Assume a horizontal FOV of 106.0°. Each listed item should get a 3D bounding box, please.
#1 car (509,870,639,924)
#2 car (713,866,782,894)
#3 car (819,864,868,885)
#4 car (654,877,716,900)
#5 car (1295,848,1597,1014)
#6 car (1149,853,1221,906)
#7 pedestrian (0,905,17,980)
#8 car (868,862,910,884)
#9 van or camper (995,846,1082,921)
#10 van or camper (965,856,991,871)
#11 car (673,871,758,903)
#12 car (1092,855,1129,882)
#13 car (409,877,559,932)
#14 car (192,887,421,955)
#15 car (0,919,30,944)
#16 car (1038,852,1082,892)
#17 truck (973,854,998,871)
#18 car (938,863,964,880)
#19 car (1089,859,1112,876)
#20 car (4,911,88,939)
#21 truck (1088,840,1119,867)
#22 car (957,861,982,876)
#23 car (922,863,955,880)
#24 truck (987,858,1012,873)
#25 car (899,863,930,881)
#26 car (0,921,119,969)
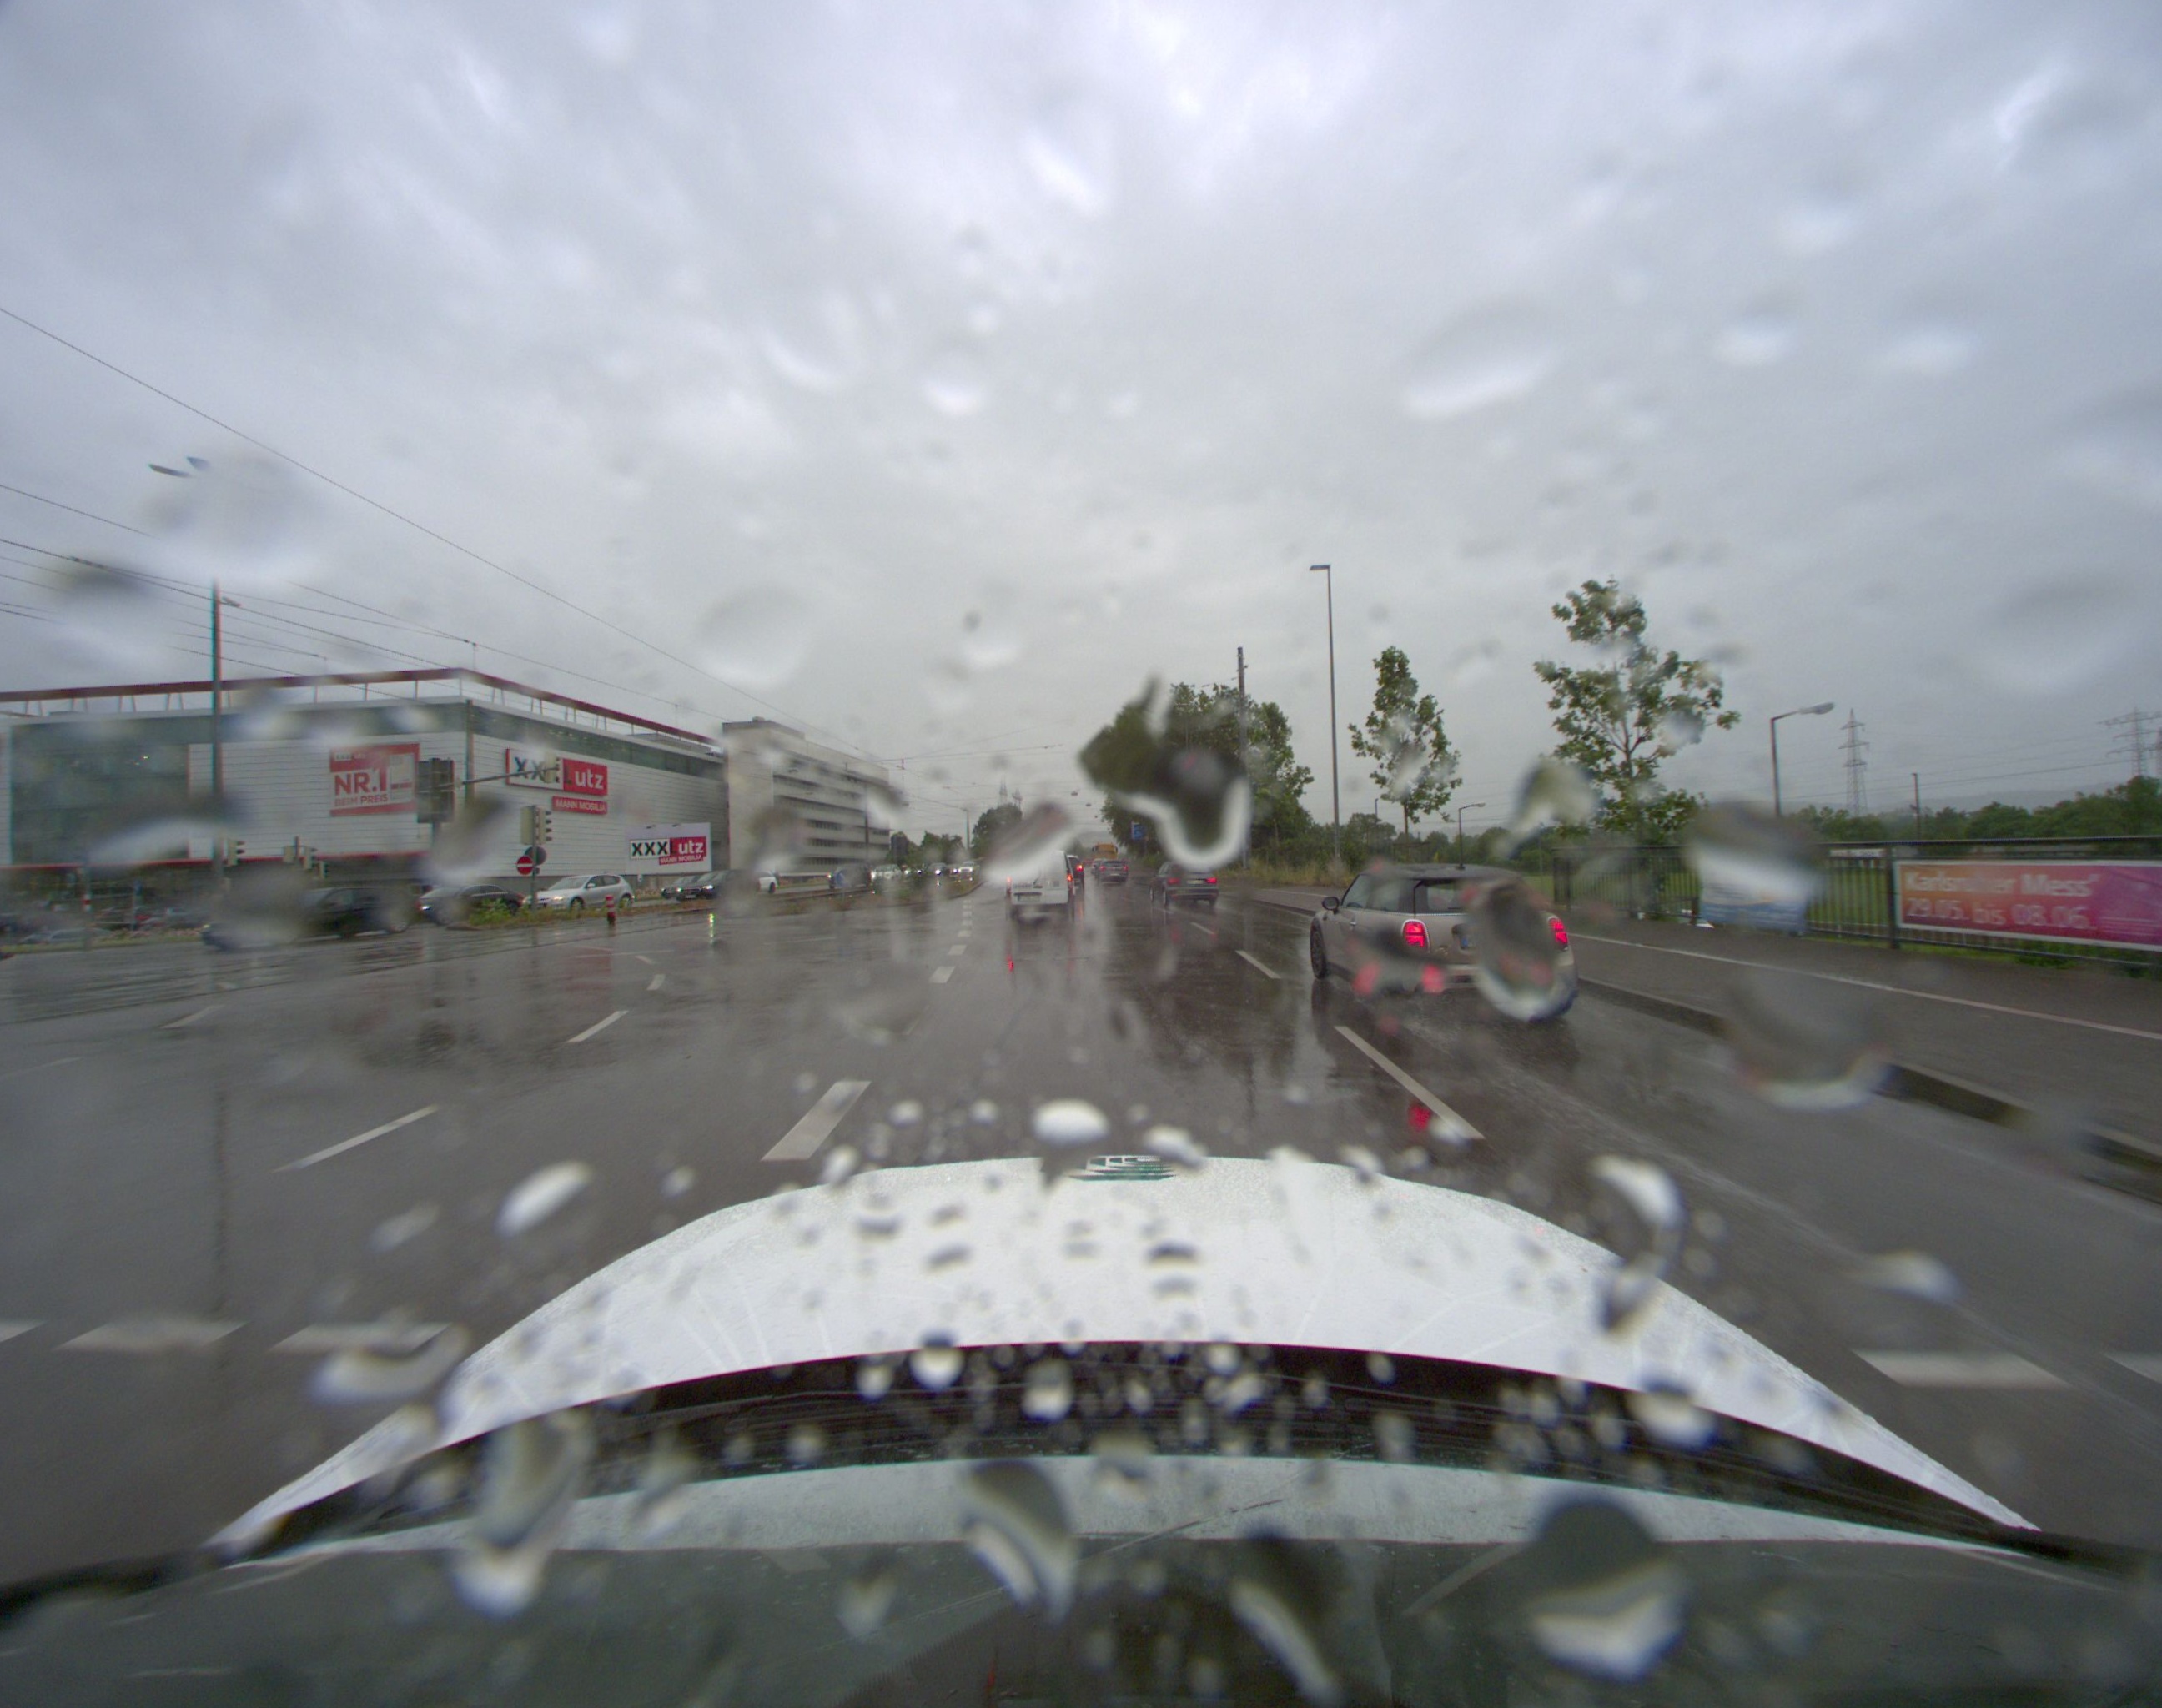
[{"bbox_3d":[-18.943,1.551,30.696,1.703,1.708,4.439,0,1,8],"label":"car"},{"bbox_3d":[-19.993,1.533,49.076,1.803,1.436,4.720,0,1,5],"label":"car"},{"bbox_3d":[-16.030,1.387,55.250,1.704,1.249,4.468,0,1,5],"label":"car"},{"bbox_3d":[-26.314,2.270,54.252,1.702,1.249,4.058,0,1,9],"label":"car"},{"bbox_3d":[3.641,0.652,8.937,1.783,1.414,3.858,-1,0,3],"label":"car"},{"bbox_3d":[3.274,0.752,26.308,1.960,1.528,3.993,-1,0,2],"label":"car"},{"bbox_3d":[-29.542,2.395,21.897,0.693,2.014,0.857,0,-1,-3],"label":"pedestrian"},{"bbox_3d":[-14.884,1.469,63.310,1.702,1.535,4.058,0,1,9],"label":"car"},{"bbox_3d":[-1.029,0.685,21.647,1.986,1.784,4.001,0,1,1],"label":"van or camper"},{"bbox_3d":[-14.146,1.280,112.263,2.293,2.014,5.695,0,0,6],"label":"van or camper"},{"bbox_3d":[-17.111,1.519,38.348,1.702,1.249,4.058,0,1,9],"label":"car"},{"bbox_3d":[1.673,0.820,46.861,1.814,1.414,3.774,-1,0,-3],"label":"car"},{"bbox_3d":[-21.879,1.797,30.118,1.796,1.794,4.510,-1,-1,9],"label":"car"},{"bbox_3d":[-19.955,1.666,21.269,1.572,1.366,4.212,0,1,9],"label":"car"},{"bbox_3d":[-95.788,6.888,71.370,1.986,2.014,4.001,0,0,1],"label":"car"},{"bbox_3d":[-0.967,0.771,38.157,1.894,1.717,4.723,-1,0,-1],"label":"car"},{"bbox_3d":[-14.131,1.264,121.204,2.215,2.462,6.079,0,0,7],"label":"truck"},{"bbox_3d":[-15.562,2.072,97.892,1.984,1.834,4.699,-2,-1,5],"label":"car"},{"bbox_3d":[1.792,1.191,73.272,1.810,1.414,3.783,-1,0,4],"label":"car"},{"bbox_3d":[-88.948,6.063,70.050,1.986,2.014,4.001,0,0,1],"label":"car"},{"bbox_3d":[2.497,-0.056,89.215,3.099,2.773,6.335,-1,0,4],"label":"truck"},{"bbox_3d":[-12.634,1.594,92.865,1.864,1.573,4.335,0,1,5],"label":"car"},{"bbox_3d":[-13.855,1.690,79.318,1.913,1.423,5.091,0,1,5],"label":"car"},{"bbox_3d":[-13.056,1.830,130.991,2.422,2.458,7.233,0,0,7],"label":"truck"},{"bbox_3d":[-16.822,1.792,82.360,1.899,1.606,4.846,1,0,3],"label":"car"},{"bbox_3d":[-52.613,4.593,41.633,1.986,2.014,4.001,0,0,1],"label":"car"}]
